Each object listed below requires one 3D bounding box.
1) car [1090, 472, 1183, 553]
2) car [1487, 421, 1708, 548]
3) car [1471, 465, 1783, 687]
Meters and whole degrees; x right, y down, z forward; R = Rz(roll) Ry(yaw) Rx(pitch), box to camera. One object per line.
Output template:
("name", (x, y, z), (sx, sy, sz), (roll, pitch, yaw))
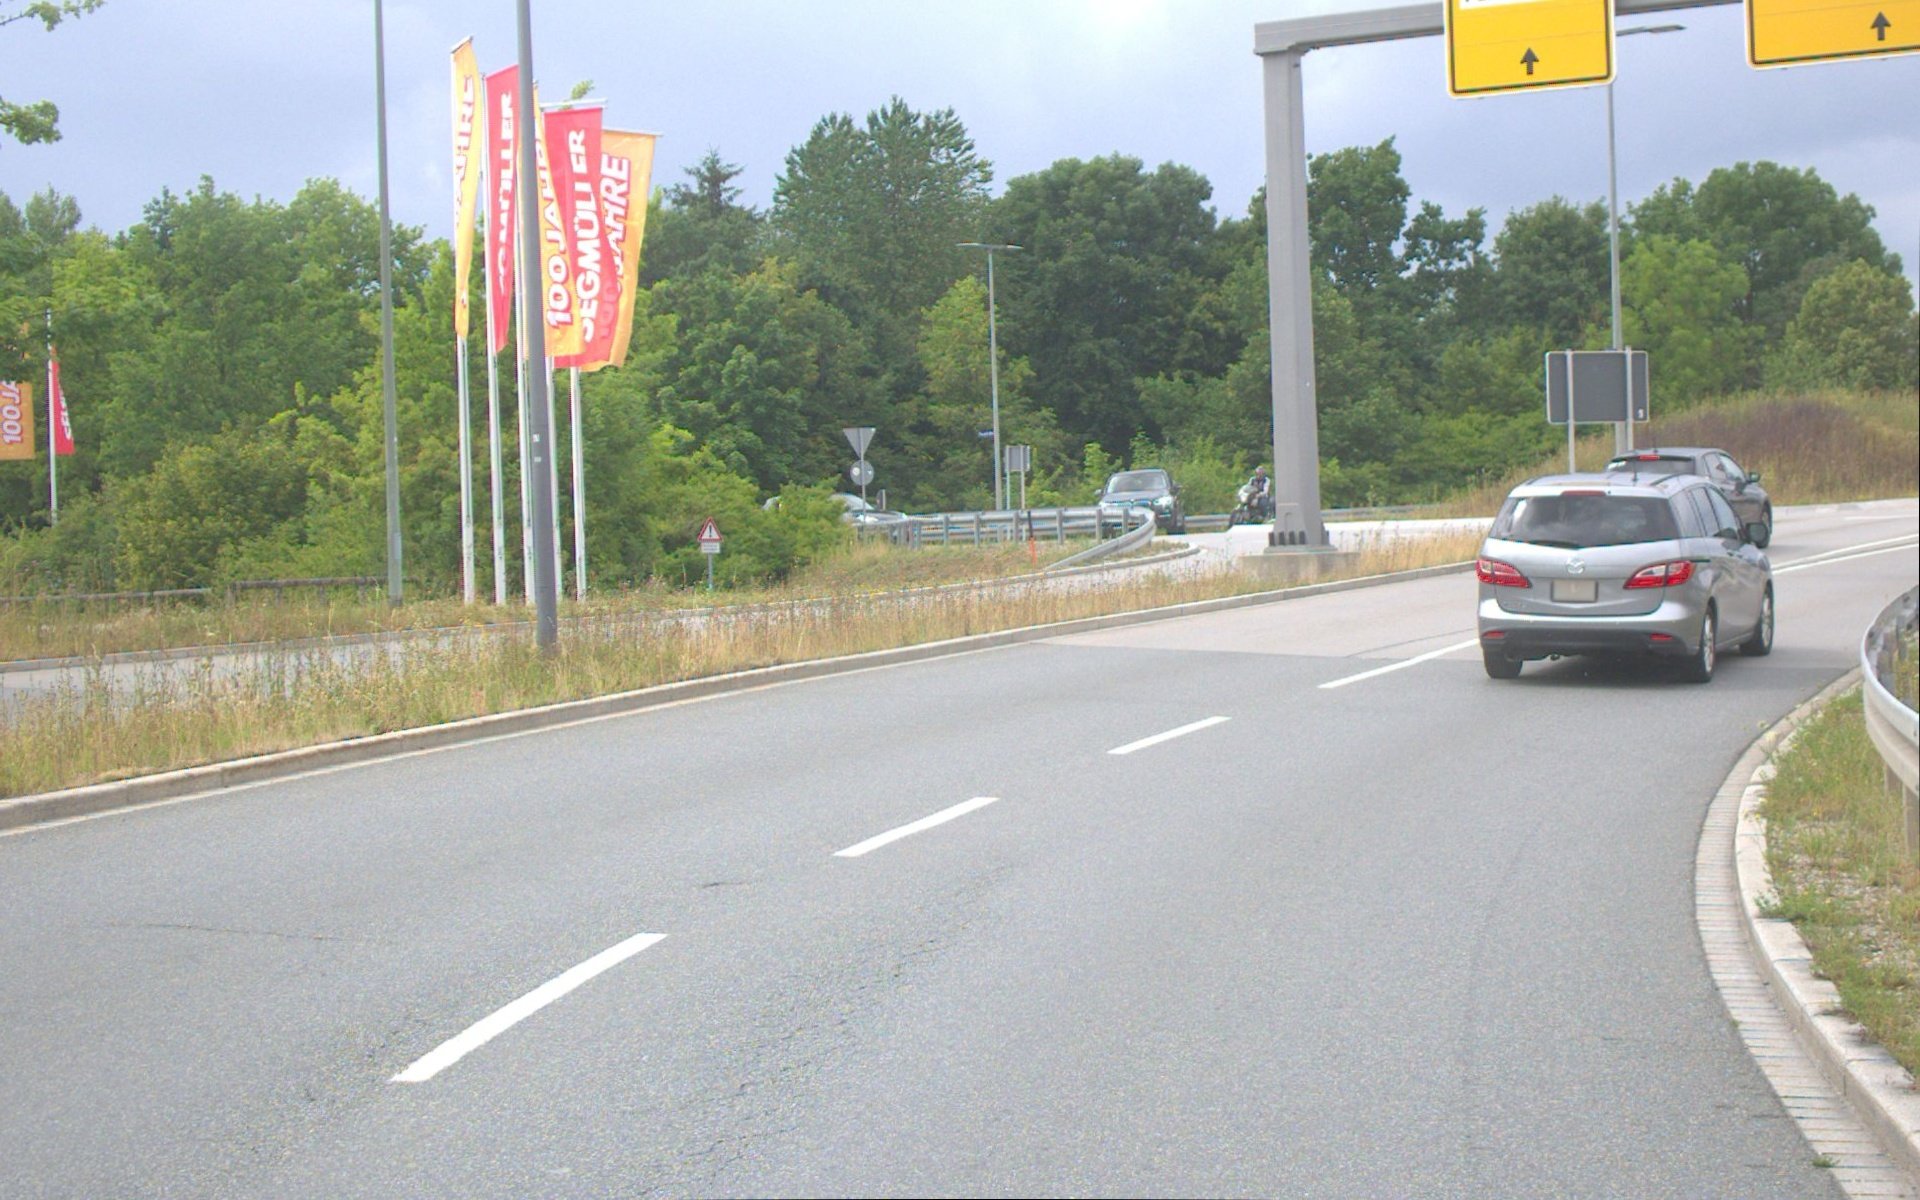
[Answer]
("car", (4.145, -2.072, 80.353), (1.854, 1.659, 4.162), (-4, 2, 6))
("car", (8.638, -1.555, 46.358), (1.872, 1.599, 3.729), (3, 3, 27))
("car", (5.422, -0.262, 27.596), (1.769, 1.611, 3.918), (2, 3, 21))
